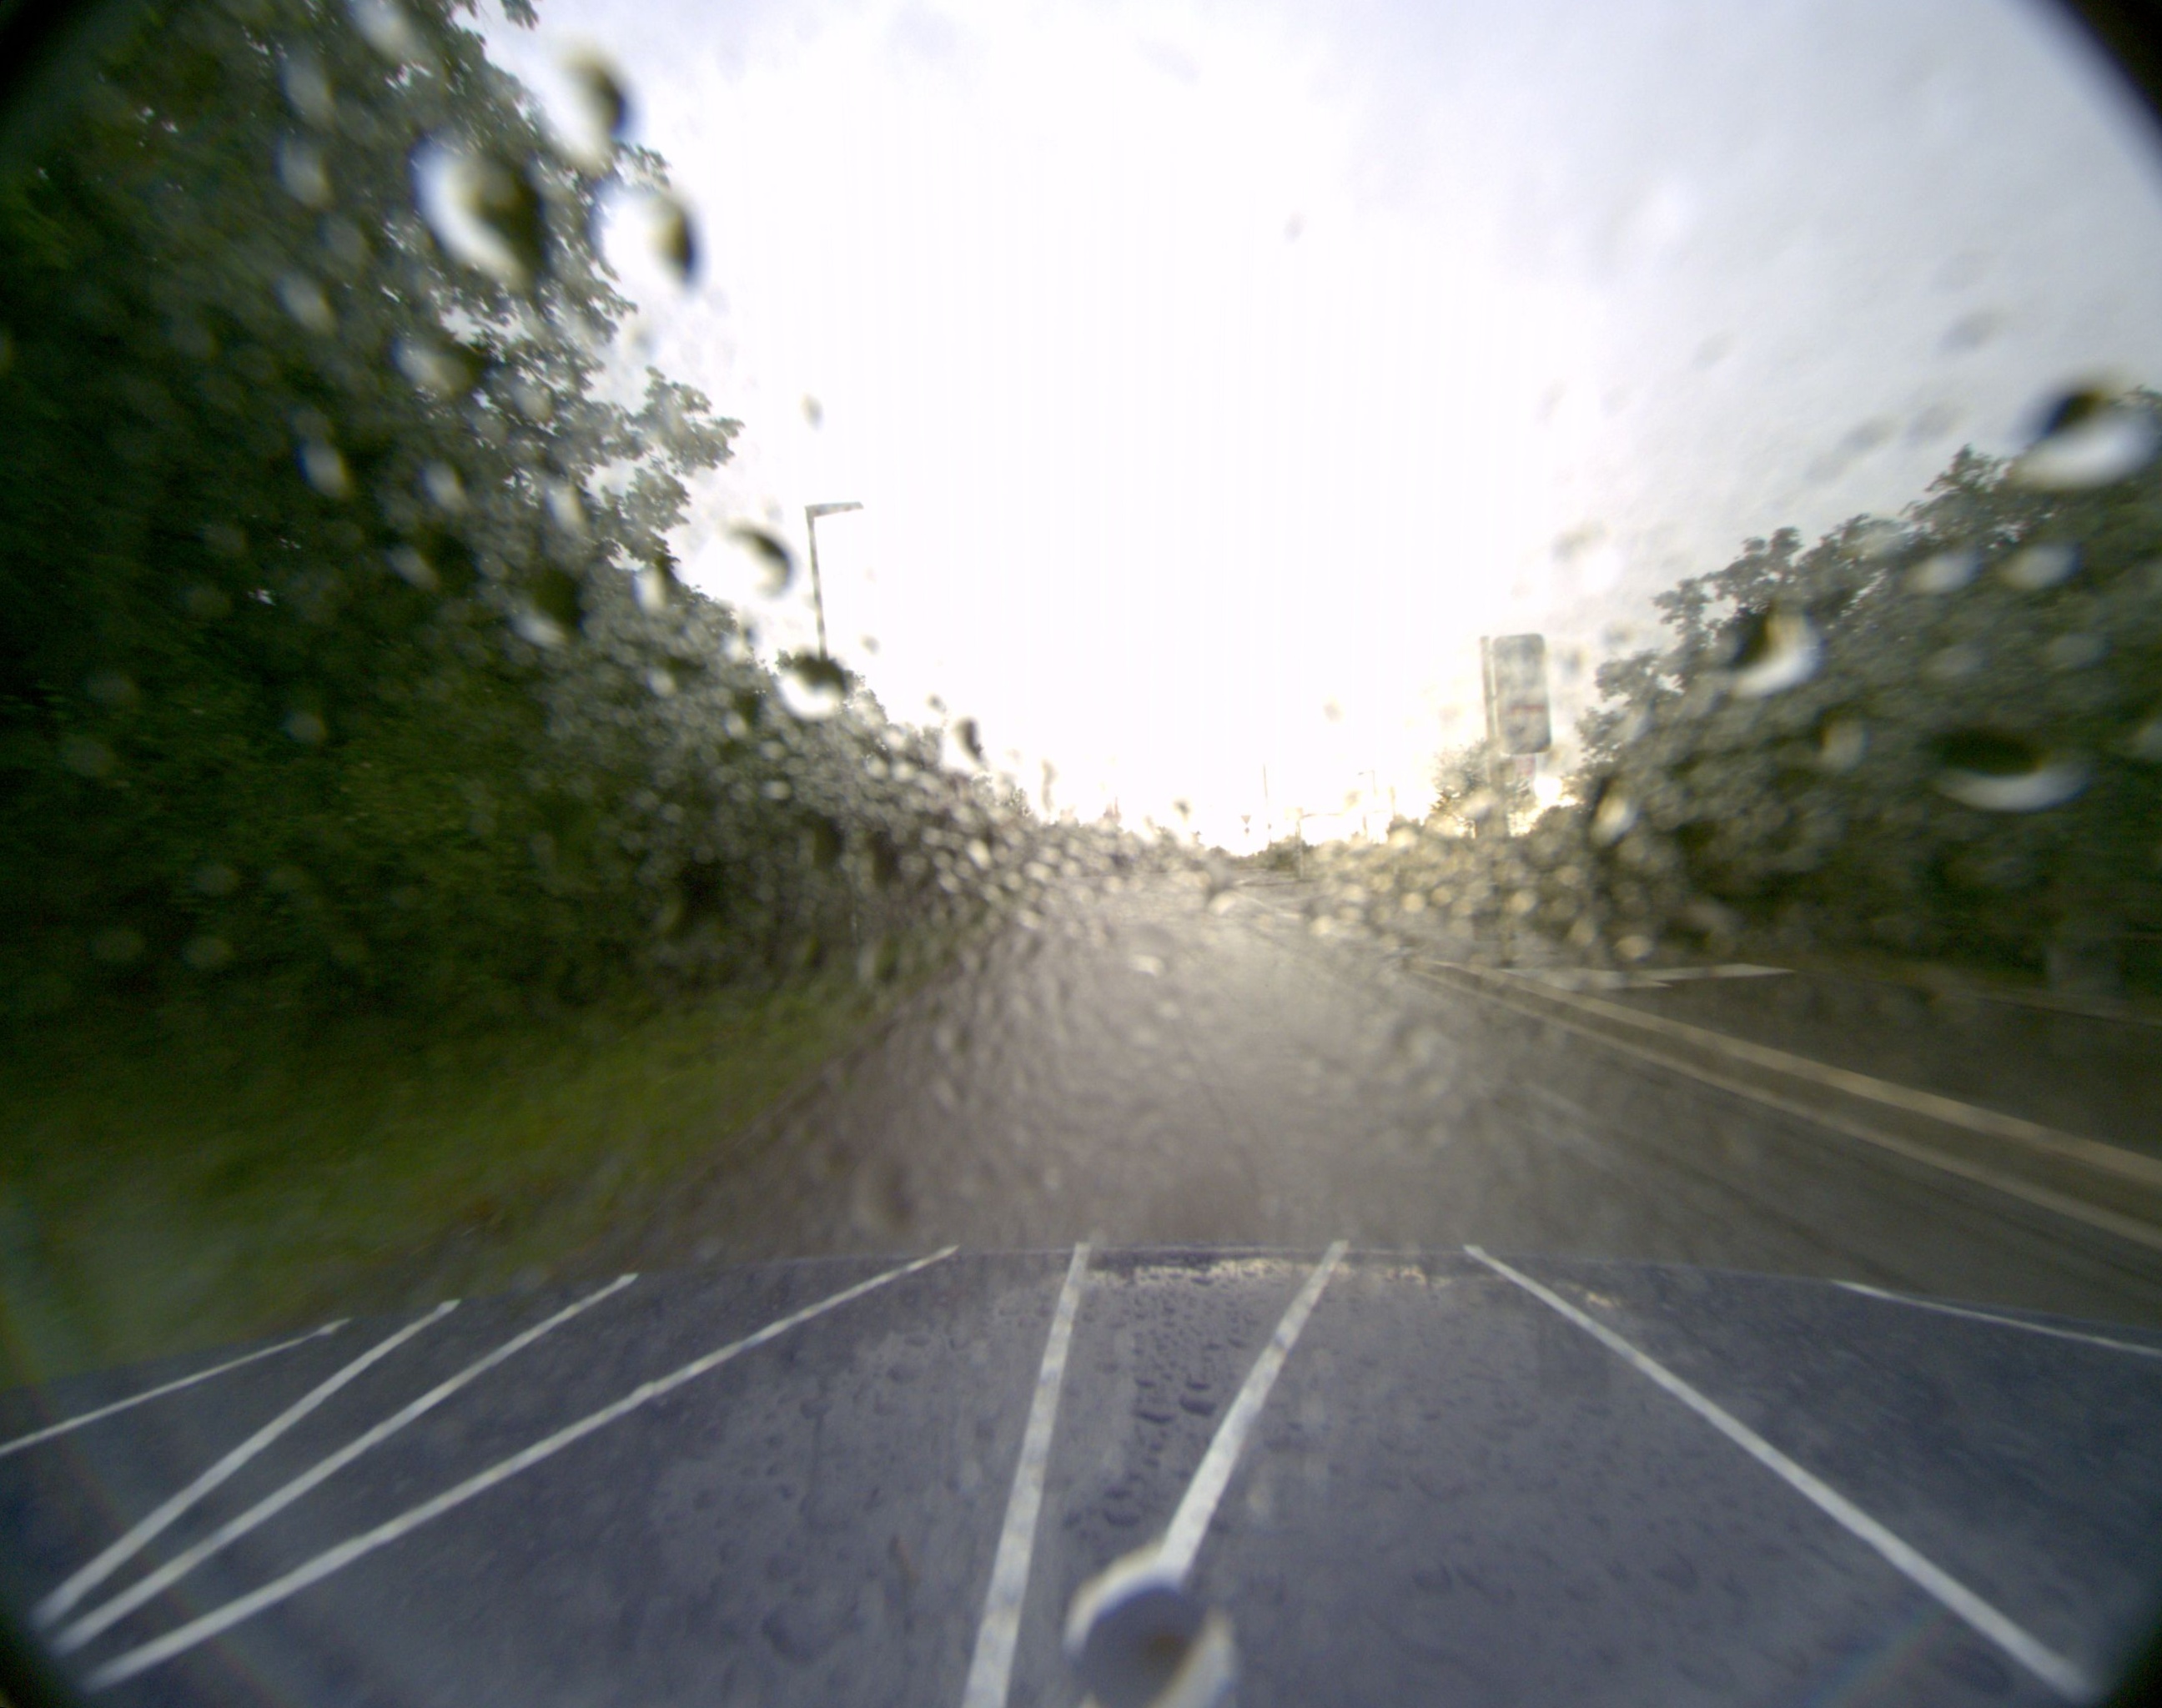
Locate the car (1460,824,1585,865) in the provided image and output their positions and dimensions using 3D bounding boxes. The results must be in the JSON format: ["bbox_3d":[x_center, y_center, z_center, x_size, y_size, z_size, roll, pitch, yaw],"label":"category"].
[{"bbox_3d":[17.105,-0.335,29.723,1.999,1.406,4.427,-3,0,-5],"label":"car"}]
